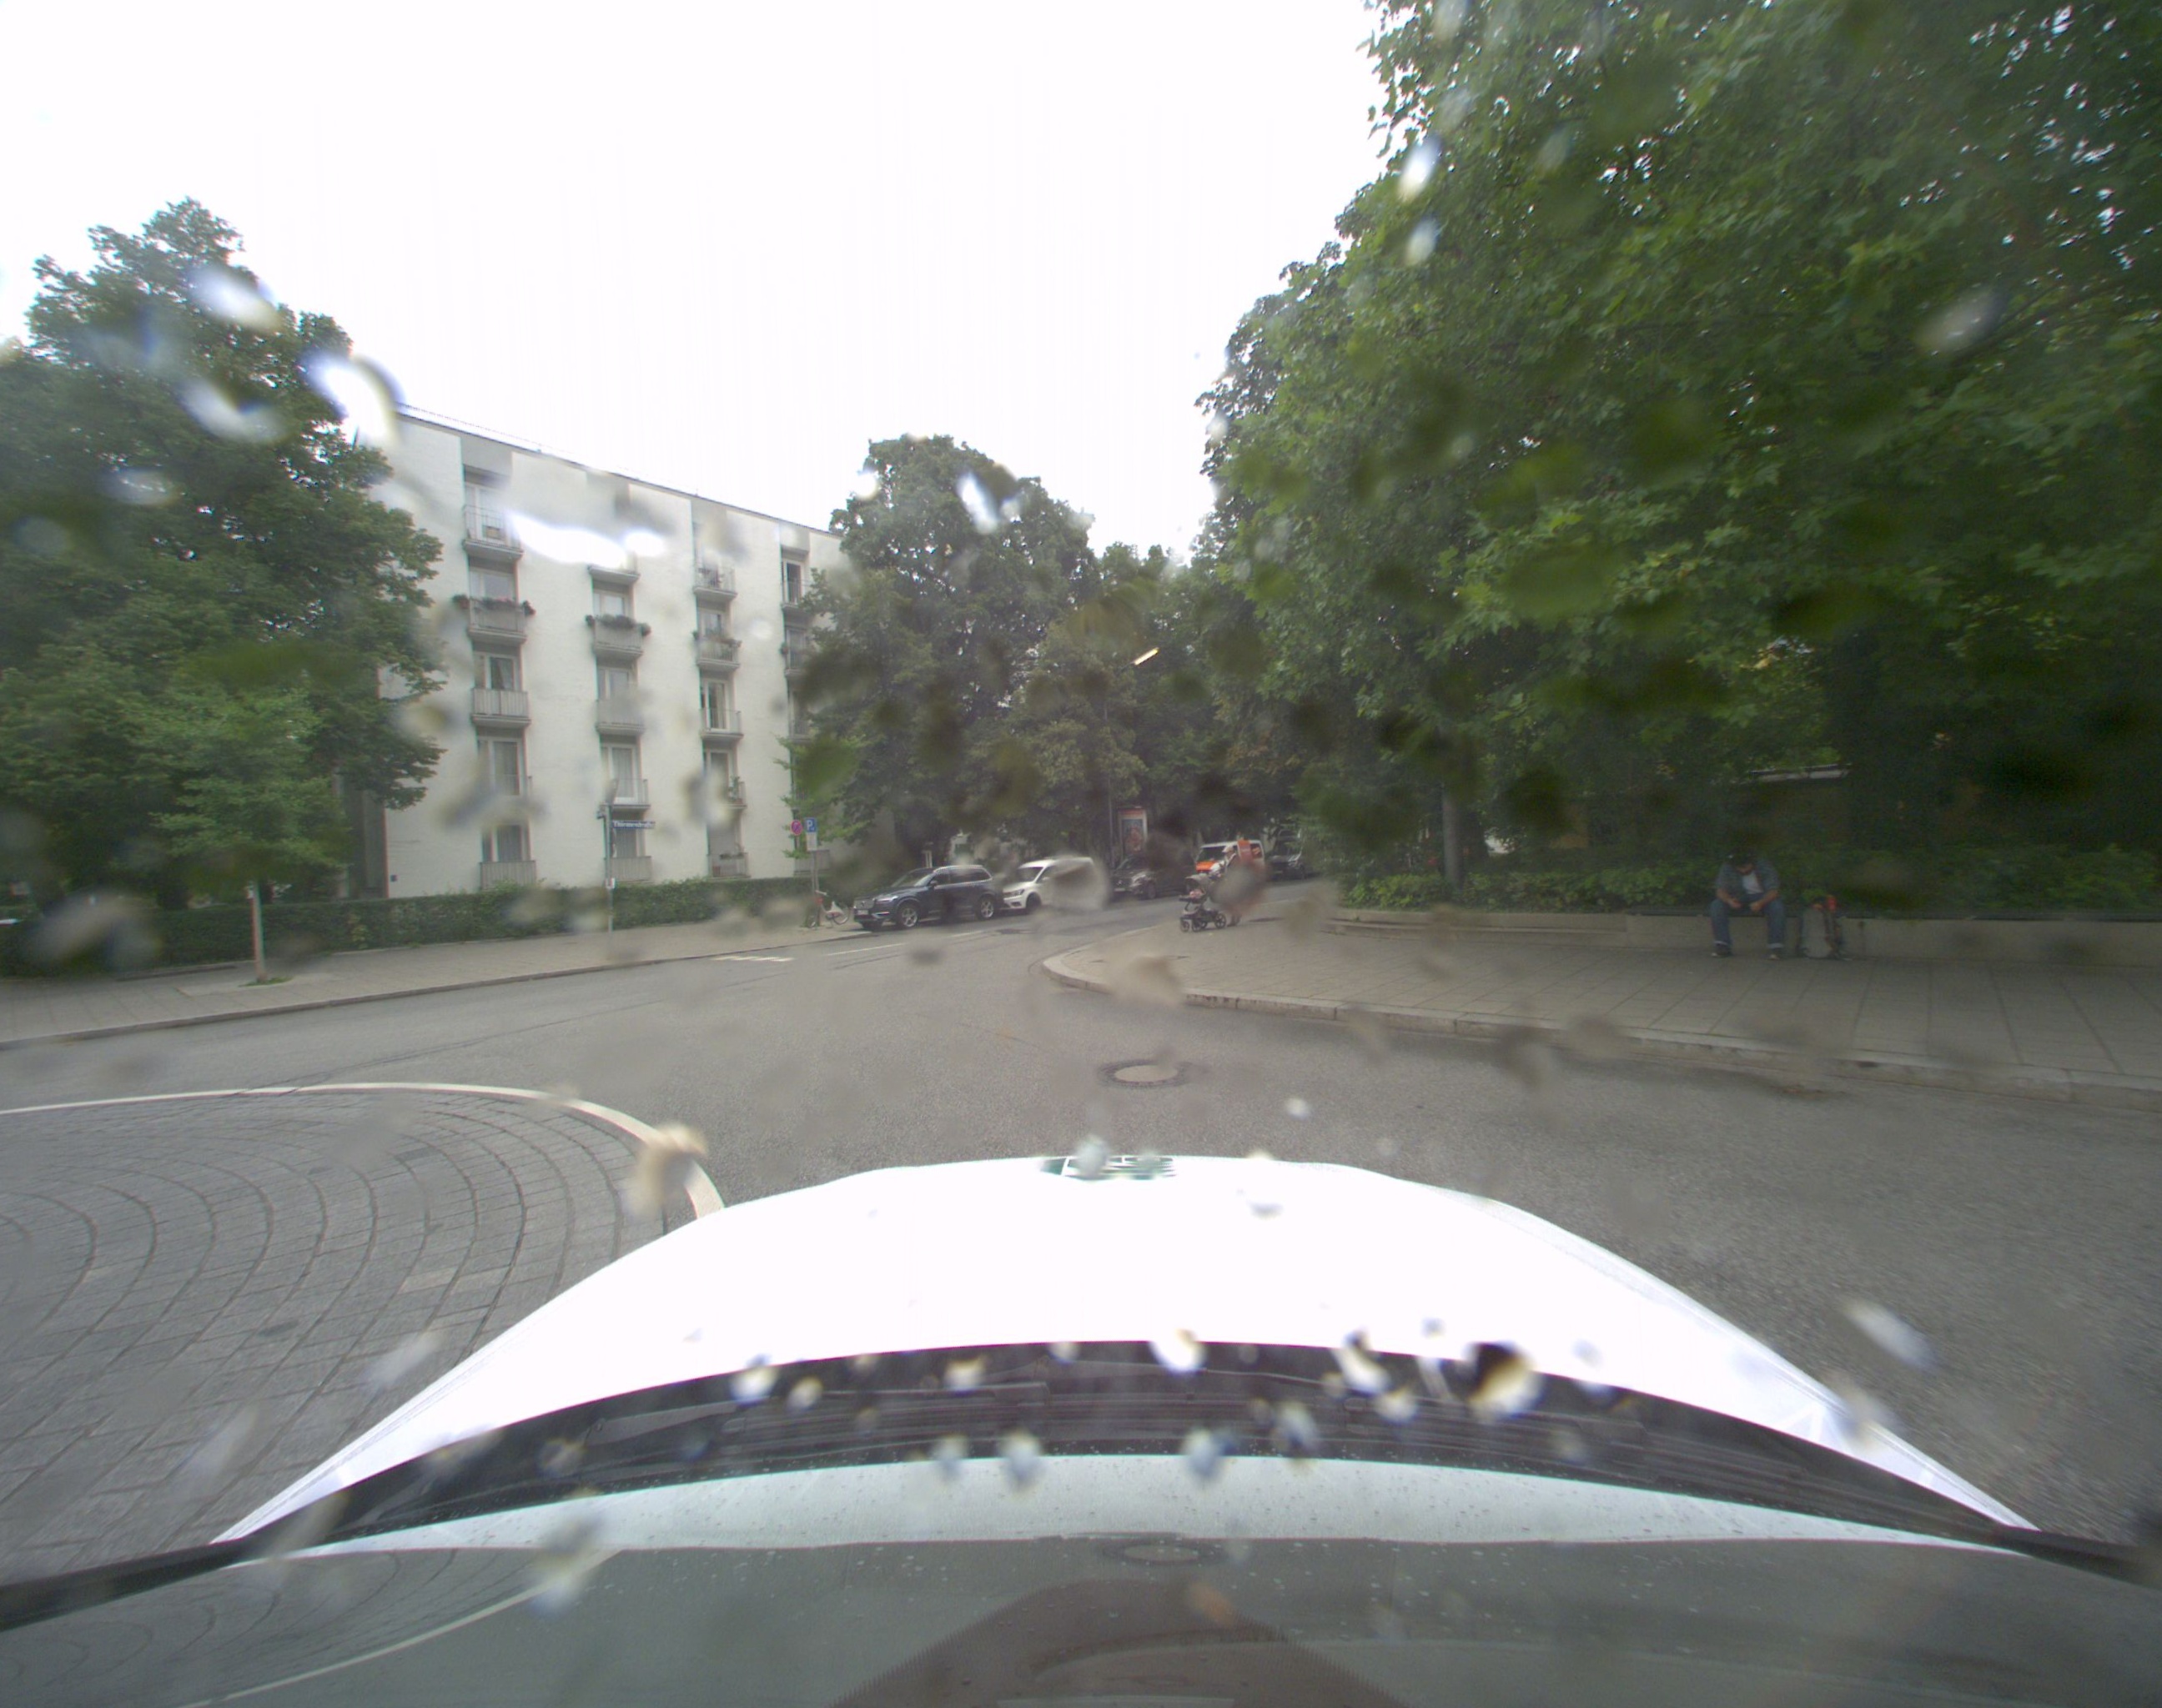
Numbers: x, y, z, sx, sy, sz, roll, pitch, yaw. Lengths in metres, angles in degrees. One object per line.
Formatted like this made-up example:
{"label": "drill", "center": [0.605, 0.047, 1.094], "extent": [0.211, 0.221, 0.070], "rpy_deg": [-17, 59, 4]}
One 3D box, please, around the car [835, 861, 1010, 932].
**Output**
{"label": "car", "center": [-4.626, 1.210, 24.442], "extent": [2.045, 1.767, 4.938], "rpy_deg": [-3, -1, 40]}

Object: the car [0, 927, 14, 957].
{"label": "car", "center": [-59.502, 4.802, 44.187], "extent": [3.983, 1.518, 1.787], "rpy_deg": [-3, -1, 40]}

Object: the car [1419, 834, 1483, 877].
{"label": "car", "center": [18.029, 0.031, 39.559], "extent": [2.021, 1.922, 4.475], "rpy_deg": [-3, -1, 34]}

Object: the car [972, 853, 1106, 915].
{"label": "car", "center": [-1.370, 1.007, 28.771], "extent": [1.907, 1.895, 4.899], "rpy_deg": [-3, -1, 38]}

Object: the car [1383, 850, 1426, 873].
{"label": "car", "center": [24.972, 0.549, 62.834], "extent": [1.877, 1.571, 4.100], "rpy_deg": [-3, -1, 39]}

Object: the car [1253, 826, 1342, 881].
{"label": "car", "center": [12.671, -0.073, 47.231], "extent": [2.312, 2.922, 6.620], "rpy_deg": [-3, -1, 40]}

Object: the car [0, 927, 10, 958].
{"label": "car", "center": [-55.961, 4.548, 41.297], "extent": [3.983, 1.518, 1.787], "rpy_deg": [-3, -1, 40]}

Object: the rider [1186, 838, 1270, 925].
{"label": "rider", "center": [3.007, 0.565, 16.698], "extent": [1.145, 1.667, 1.073], "rpy_deg": [-3, -3, -38]}

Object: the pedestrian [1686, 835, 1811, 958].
{"label": "pedestrian", "center": [7.013, 0.424, 8.560], "extent": [0.924, 1.189, 0.805], "rpy_deg": [-2, -1, -39]}

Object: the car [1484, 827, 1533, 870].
{"label": "car", "center": [27.517, -0.382, 52.286], "extent": [2.021, 2.558, 5.282], "rpy_deg": [-3, -1, 35]}

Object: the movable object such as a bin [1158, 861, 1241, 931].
{"label": "movable object such as a bin", "center": [2.347, 0.831, 16.155], "extent": [1.092, 1.267, 1.069], "rpy_deg": [-3, -3, -38]}

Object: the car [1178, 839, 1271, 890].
{"label": "car", "center": [7.108, 0.468, 39.937], "extent": [2.090, 2.251, 5.228], "rpy_deg": [-3, -1, 40]}

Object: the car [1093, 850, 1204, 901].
{"label": "car", "center": [2.910, 0.844, 33.982], "extent": [2.045, 1.859, 5.018], "rpy_deg": [-3, -1, 40]}

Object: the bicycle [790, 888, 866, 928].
{"label": "bicycle", "center": [-7.629, 1.617, 24.620], "extent": [0.902, 1.051, 1.984], "rpy_deg": [-3, -1, 41]}
